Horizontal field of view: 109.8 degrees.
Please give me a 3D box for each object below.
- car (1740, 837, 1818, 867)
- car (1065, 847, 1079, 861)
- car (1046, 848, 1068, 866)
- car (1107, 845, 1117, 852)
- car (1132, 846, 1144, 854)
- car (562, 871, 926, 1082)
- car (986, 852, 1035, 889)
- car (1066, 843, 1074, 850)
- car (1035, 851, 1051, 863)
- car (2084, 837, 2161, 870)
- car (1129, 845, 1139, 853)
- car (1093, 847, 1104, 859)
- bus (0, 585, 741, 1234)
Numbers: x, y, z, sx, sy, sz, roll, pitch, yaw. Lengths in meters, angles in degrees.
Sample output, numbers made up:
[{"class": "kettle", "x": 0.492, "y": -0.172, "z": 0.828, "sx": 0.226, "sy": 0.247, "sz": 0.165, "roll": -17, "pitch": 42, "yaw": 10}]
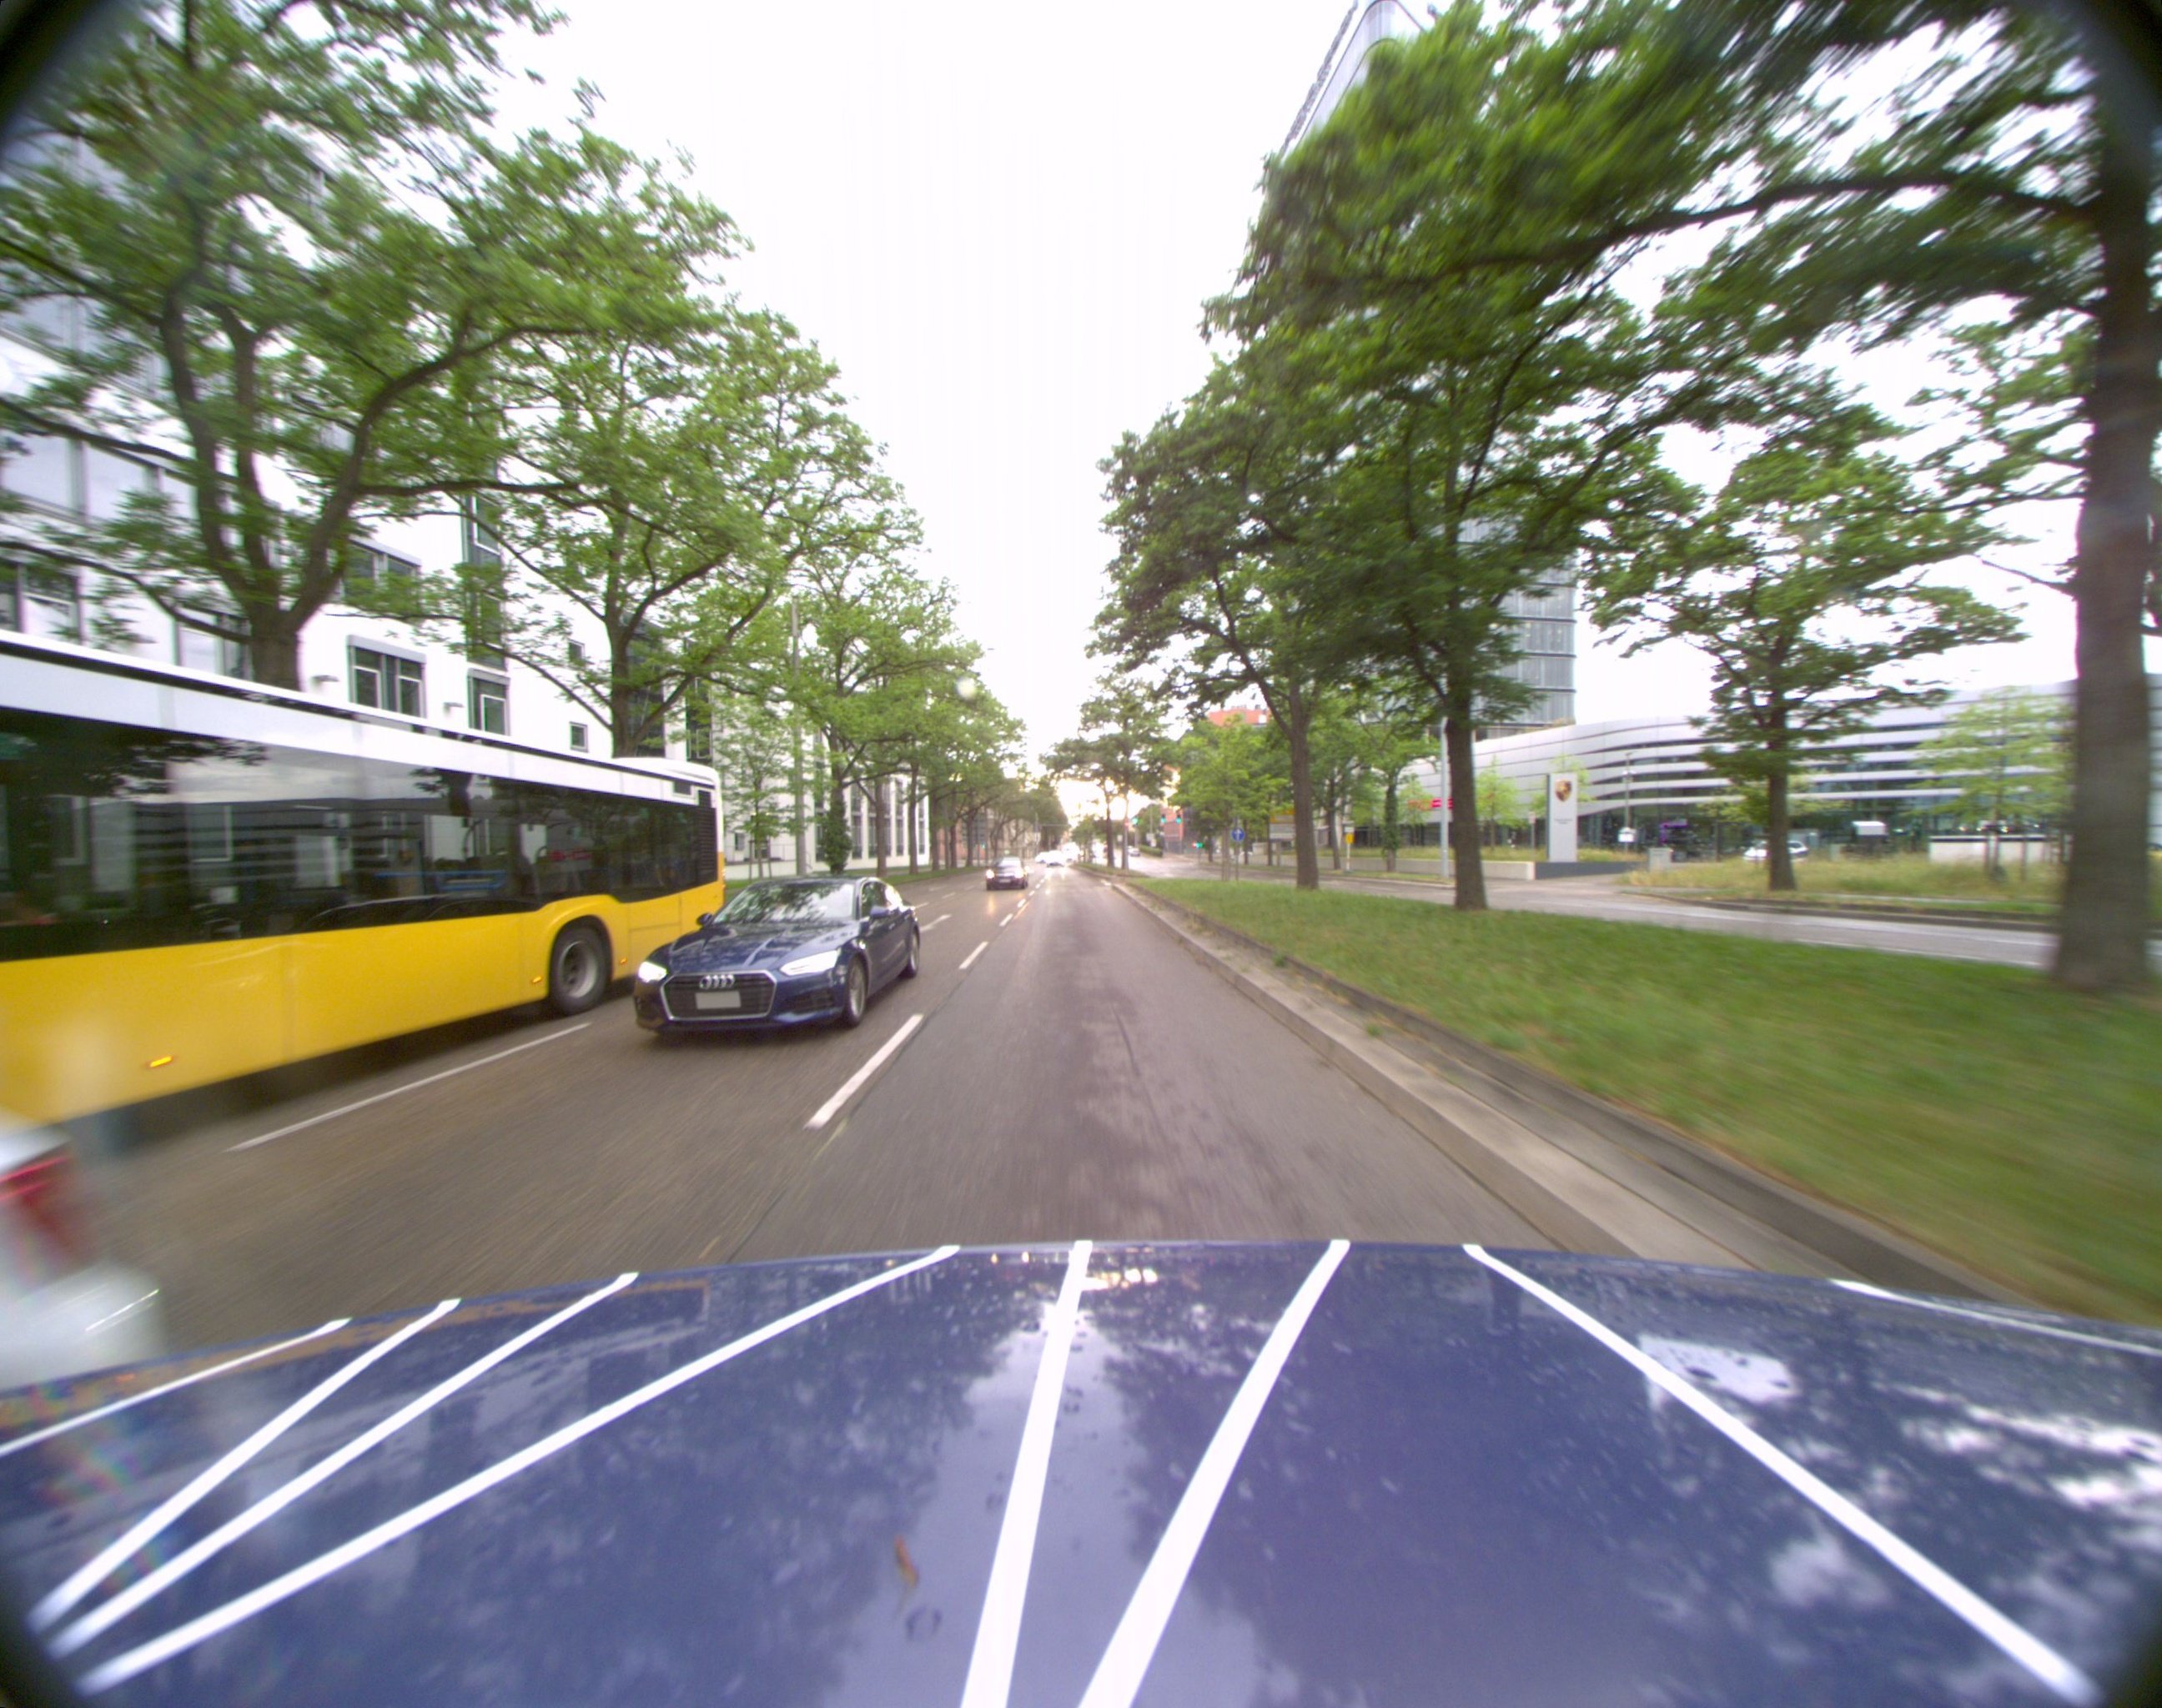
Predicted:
[{"class": "car", "x": 39.048, "y": -0.123, "z": 42.518, "sx": 4.004, "sy": 1.405, "sz": 1.775, "roll": -3, "pitch": 2, "yaw": -25}, {"class": "car", "x": -1.373, "y": 0.025, "z": 111.697, "sx": 1.931, "sy": 2.002, "sz": 4.000, "roll": -1, "pitch": 0, "yaw": 1}, {"class": "car", "x": -2.420, "y": 0.291, "z": 77.967, "sx": 1.998, "sy": 1.707, "sz": 4.000, "roll": 0, "pitch": 1, "yaw": 1}, {"class": "car", "x": 6.982, "y": -1.325, "z": 171.842, "sx": 1.846, "sy": 1.581, "sz": 4.172, "roll": 0, "pitch": 1, "yaw": -3}, {"class": "car", "x": 11.150, "y": -0.867, "z": 149.487, "sx": 1.894, "sy": 1.445, "sz": 3.998, "roll": -3, "pitch": 1, "yaw": -2}, {"class": "car", "x": -3.005, "y": 0.982, "z": 7.975, "sx": 1.878, "sy": 1.346, "sz": 4.330, "roll": -3, "pitch": 1, "yaw": -1}, {"class": "car", "x": -3.087, "y": 0.717, "z": 34.033, "sx": 1.625, "sy": 1.426, "sz": 3.551, "roll": -3, "pitch": 1, "yaw": 3}, {"class": "car", "x": -2.968, "y": -1.928, "z": 201.215, "sx": 1.998, "sy": 1.772, "sz": 3.999, "roll": -2, "pitch": 1, "yaw": 0}, {"class": "car", "x": -5.284, "y": 0.424, "z": 106.822, "sx": 1.998, "sy": 1.576, "sz": 4.000, "roll": 0, "pitch": 1, "yaw": 1}, {"class": "car", "x": 48.813, "y": -0.036, "z": 35.483, "sx": 4.004, "sy": 1.316, "sz": 1.617, "roll": -3, "pitch": 2, "yaw": -26}, {"class": "car", "x": 11.590, "y": -1.114, "z": 167.022, "sx": 1.783, "sy": 1.445, "sz": 3.998, "roll": -3, "pitch": 1, "yaw": -2}, {"class": "car", "x": 3.053, "y": -0.157, "z": 134.374, "sx": 1.998, "sy": 2.002, "sz": 4.000, "roll": -1, "pitch": 0, "yaw": 1}, {"class": "bus", "x": -6.580, "y": 0.309, "z": 5.309, "sx": 2.734, "sy": 3.133, "sz": 12.144, "roll": -3, "pitch": 0, "yaw": 0}]
